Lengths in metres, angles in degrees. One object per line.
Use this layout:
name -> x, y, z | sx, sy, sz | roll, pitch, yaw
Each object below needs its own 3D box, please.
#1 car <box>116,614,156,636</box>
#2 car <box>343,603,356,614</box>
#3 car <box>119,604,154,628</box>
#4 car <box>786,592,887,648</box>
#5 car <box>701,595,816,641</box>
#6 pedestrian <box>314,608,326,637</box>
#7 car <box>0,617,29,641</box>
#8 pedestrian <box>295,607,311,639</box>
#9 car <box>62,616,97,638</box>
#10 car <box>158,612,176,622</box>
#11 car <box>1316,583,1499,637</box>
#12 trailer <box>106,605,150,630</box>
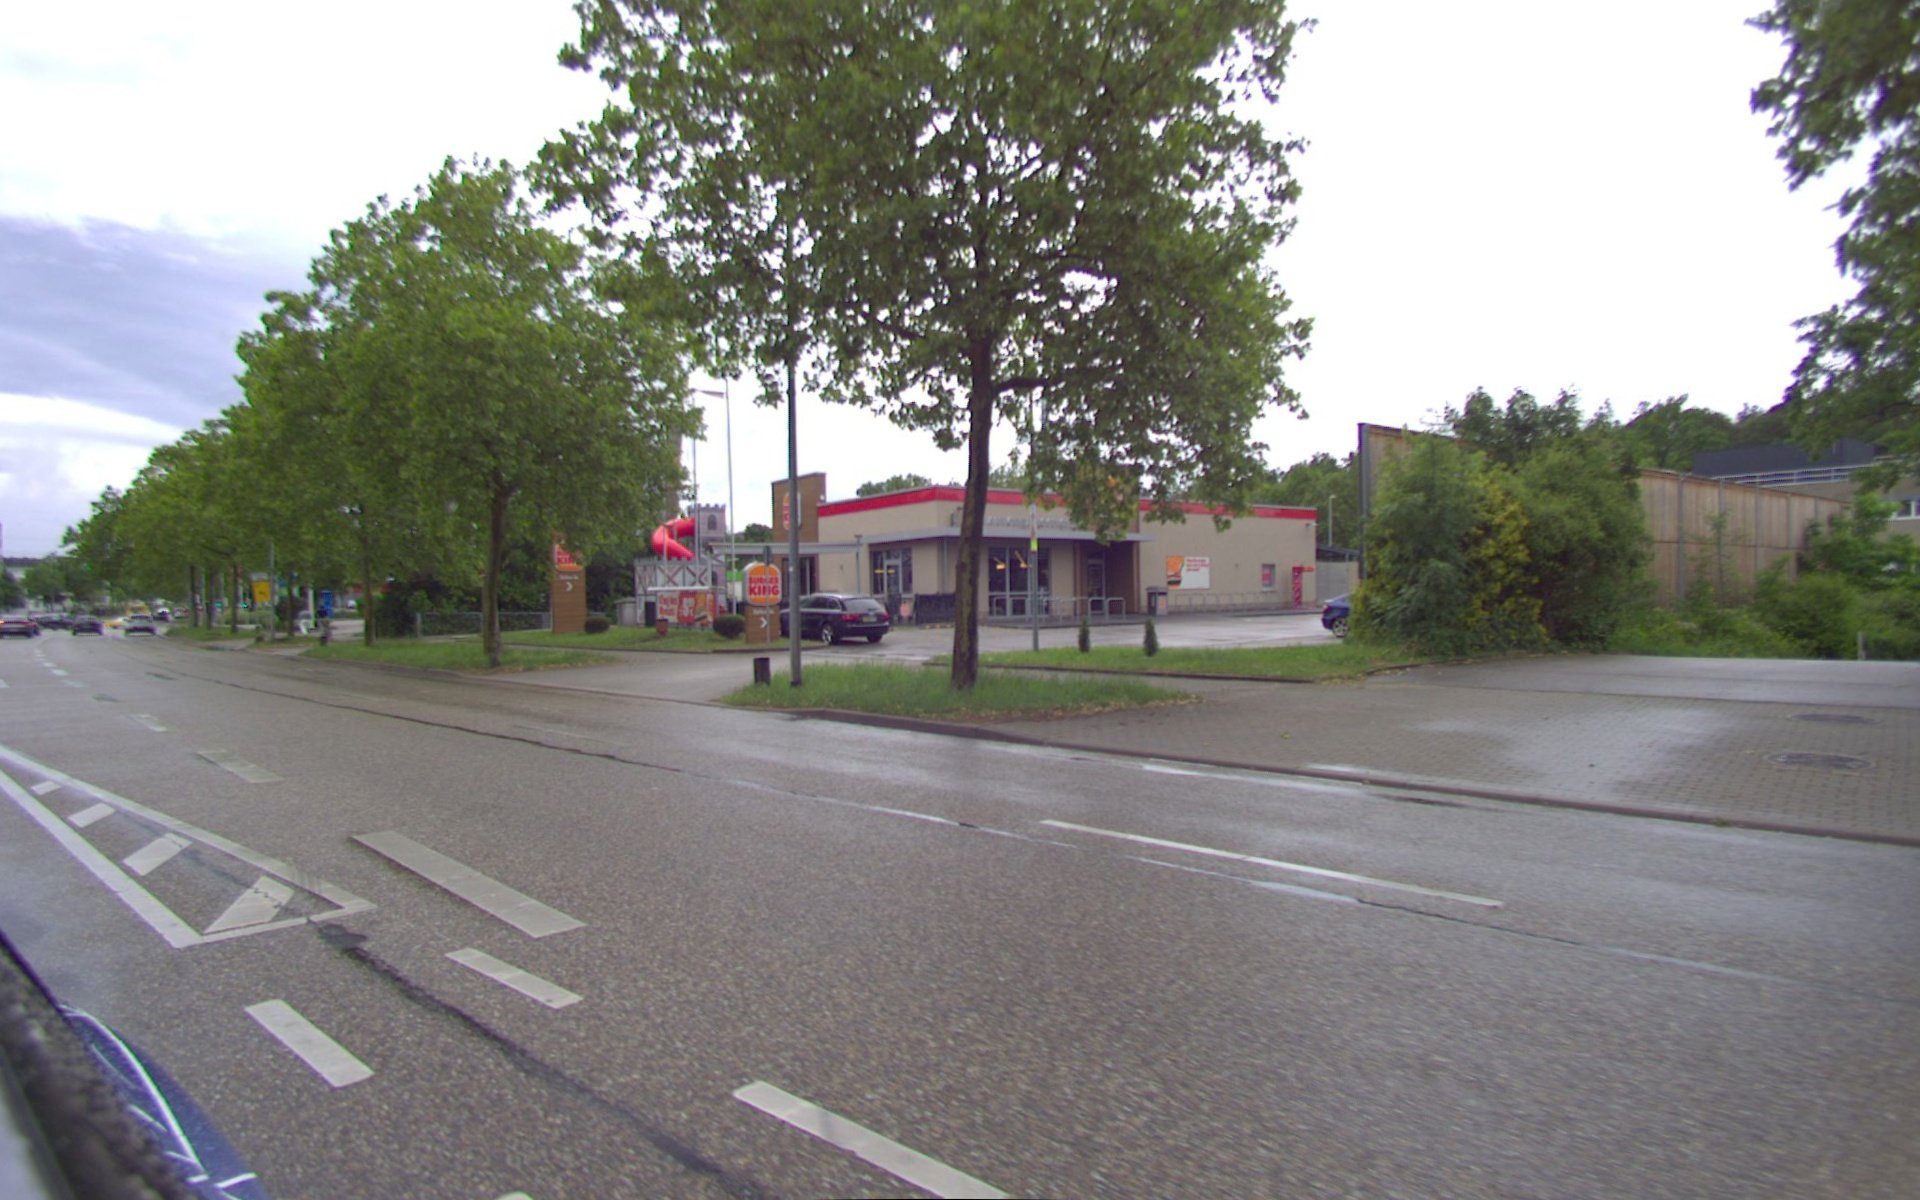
car -> -62.282, 1.862, 76.456 | 1.906, 1.631, 4.401 | 0, -1, -45
car -> -96.910, 1.308, 160.529 | 1.669, 1.658, 3.974 | 0, -1, -33
car -> -91.849, 1.765, 112.961 | 2.208, 2.492, 5.030 | -3, 0, -30
car -> -3.654, 0.553, 29.614 | 1.416, 1.437, 3.197 | -2, 3, -40
car -> -6.087, 0.516, 30.688 | 3.135, 1.164, 1.293 | -4, 2, -40
pedestrian -> -37.261, 1.309, 58.925 | 0.541, 1.695, 0.506 | -1, -2, 44
car -> -65.106, 1.968, 69.424 | 1.789, 1.574, 4.604 | 0, -1, -42
pedestrian -> -37.817, 1.307, 58.249 | 0.655, 1.780, 0.585 | -1, 0, -24
car -> -68.153, 2.105, 78.371 | 1.969, 1.520, 4.737 | 1, -3, -41
car -> -116.952, 2.485, 149.222 | 1.758, 1.415, 4.011 | 0, -1, -33
car -> 12.410, 0.292, 28.332 | 1.840, 1.375, 4.325 | 0, -1, -36
trailer -> -89.626, 1.932, 109.166 | 2.271, 2.492, 7.995 | -3, 0, -30
